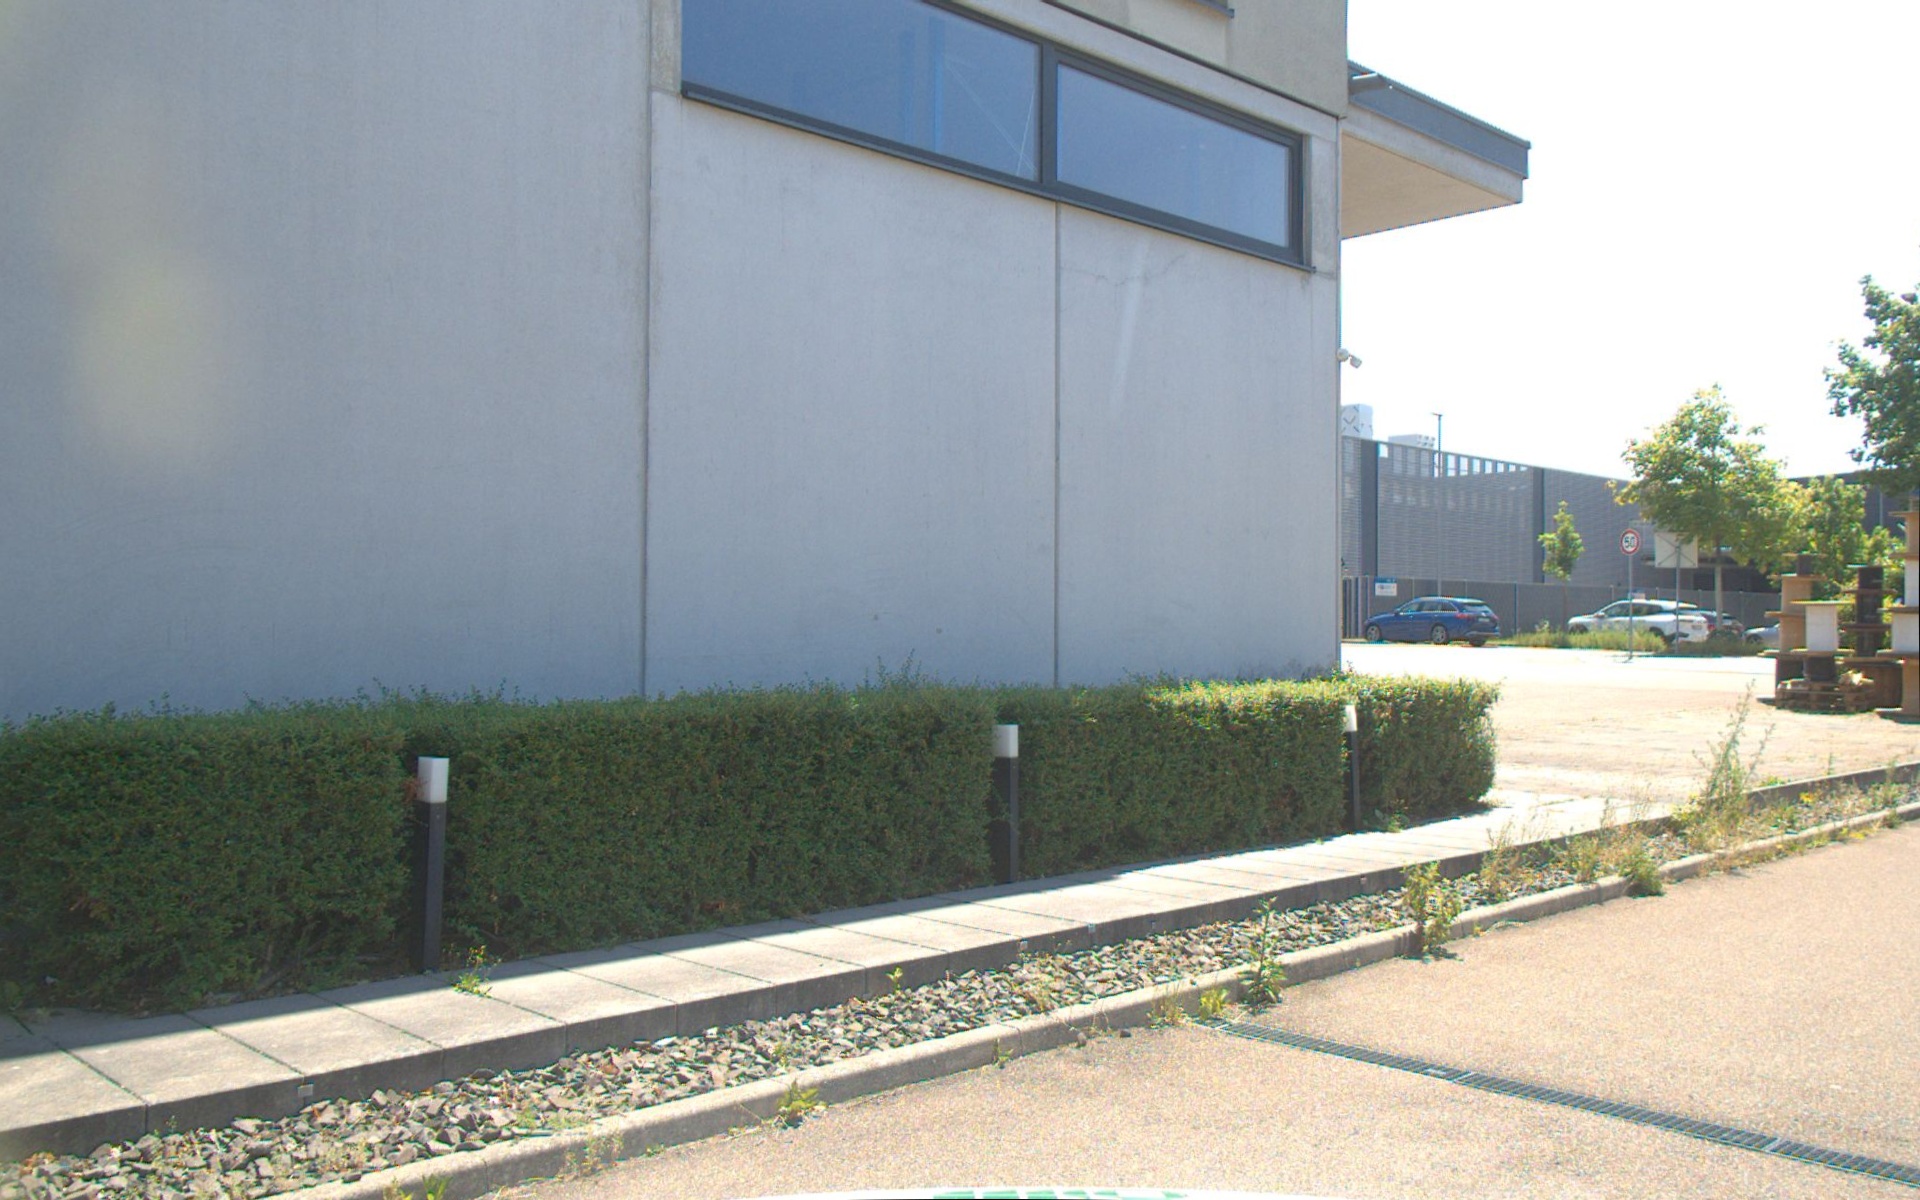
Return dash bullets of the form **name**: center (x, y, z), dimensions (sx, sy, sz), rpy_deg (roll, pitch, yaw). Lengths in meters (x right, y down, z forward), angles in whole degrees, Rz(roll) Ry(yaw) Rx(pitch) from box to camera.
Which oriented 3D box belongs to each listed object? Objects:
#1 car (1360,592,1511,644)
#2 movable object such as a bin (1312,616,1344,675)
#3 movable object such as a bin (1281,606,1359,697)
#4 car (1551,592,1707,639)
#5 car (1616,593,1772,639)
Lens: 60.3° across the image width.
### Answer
- **car**: center (14.766, 0.514, 51.622), dimensions (1.972, 1.517, 4.470), rpy_deg (0, 1, -30)
- **movable object such as a bin**: center (6.687, 0.824, 30.060), dimensions (0.564, 1.054, 0.426), rpy_deg (0, -1, 13)
- **movable object such as a bin**: center (5.513, 0.774, 25.314), dimensions (0.875, 1.368, 0.802), rpy_deg (1, -1, -38)
- **car**: center (22.921, 0.491, 56.843), dimensions (1.972, 1.517, 4.806), rpy_deg (0, 1, -30)
- **car**: center (25.699, 0.525, 58.054), dimensions (1.972, 1.517, 4.806), rpy_deg (0, 1, -30)
